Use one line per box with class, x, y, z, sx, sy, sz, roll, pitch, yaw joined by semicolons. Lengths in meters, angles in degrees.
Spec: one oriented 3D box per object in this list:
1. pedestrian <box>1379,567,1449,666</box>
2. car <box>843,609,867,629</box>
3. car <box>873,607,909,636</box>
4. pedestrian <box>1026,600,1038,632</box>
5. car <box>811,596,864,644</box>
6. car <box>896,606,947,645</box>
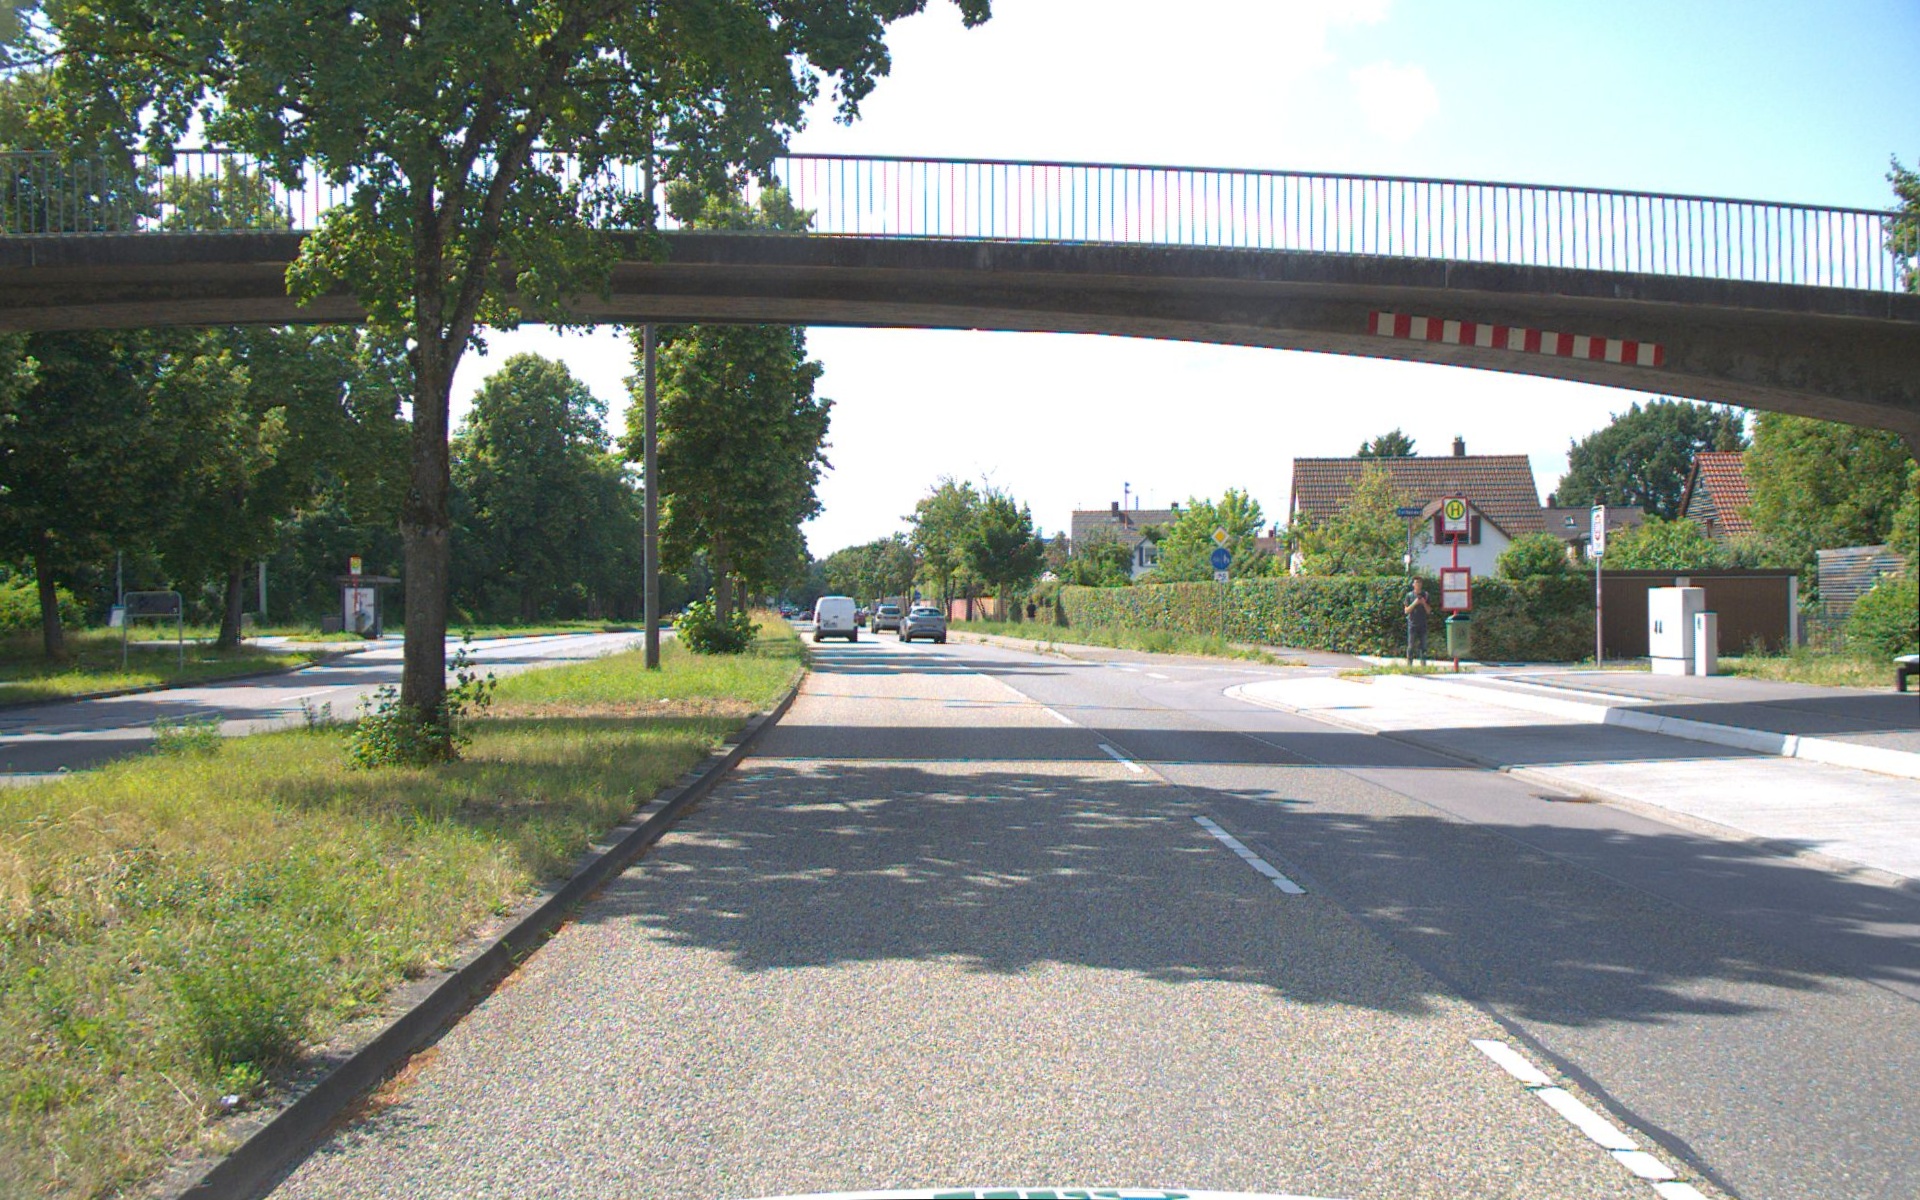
pedestrian;8.885;0.340;32.419;0.935;1.856;1.087;-2;-3;-4
car;-8.698;1.549;136.598;1.844;1.615;3.994;0;0;-6
car;-4.120;1.255;98.126;1.839;1.681;3.994;0;-1;-6
pedestrian;3.836;0.876;88.274;0.549;1.706;0.633;0;-1;-7
car;-5.153;0.827;69.007;2.026;1.945;4.639;0;0;-6
car;-1.672;1.081;71.123;1.839;1.617;4.178;0;-1;-6
